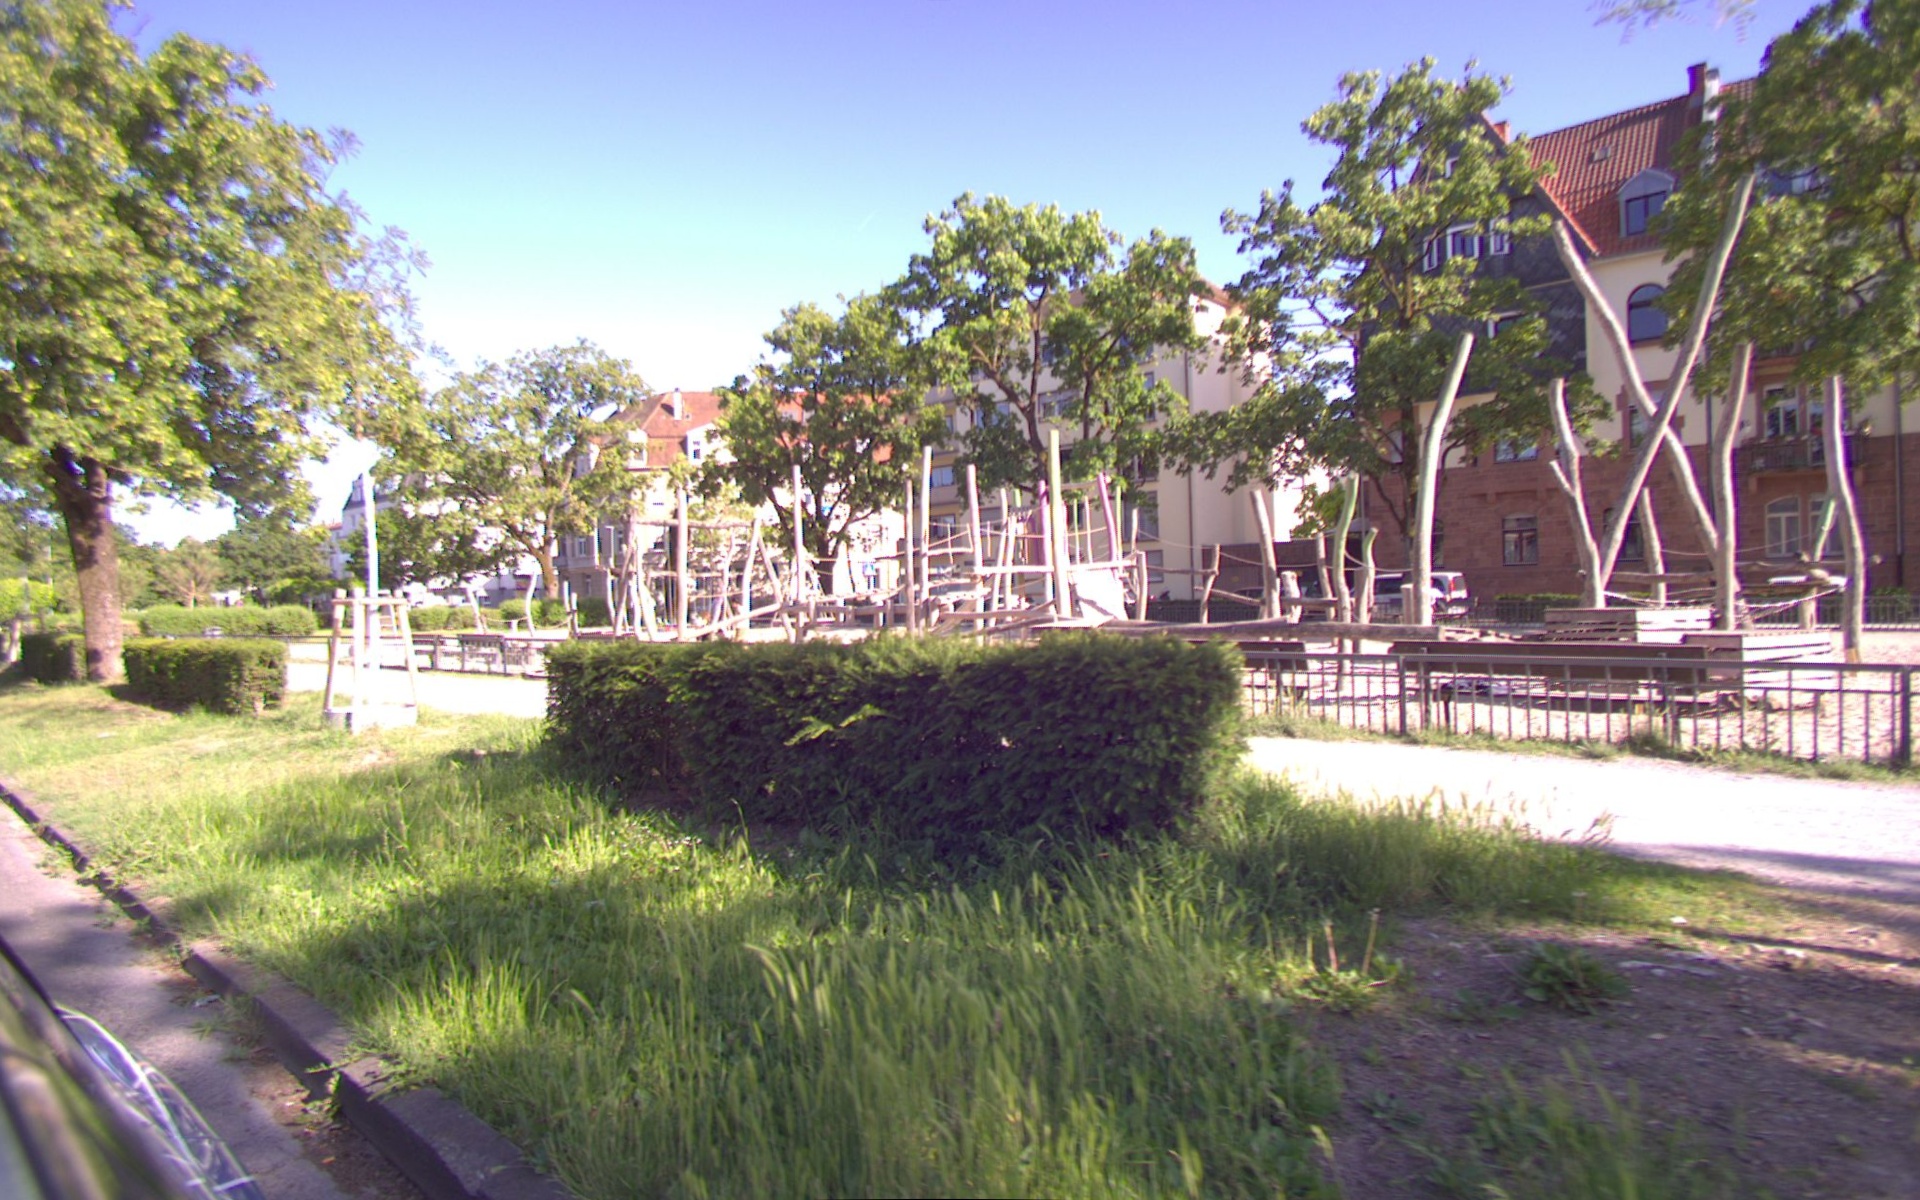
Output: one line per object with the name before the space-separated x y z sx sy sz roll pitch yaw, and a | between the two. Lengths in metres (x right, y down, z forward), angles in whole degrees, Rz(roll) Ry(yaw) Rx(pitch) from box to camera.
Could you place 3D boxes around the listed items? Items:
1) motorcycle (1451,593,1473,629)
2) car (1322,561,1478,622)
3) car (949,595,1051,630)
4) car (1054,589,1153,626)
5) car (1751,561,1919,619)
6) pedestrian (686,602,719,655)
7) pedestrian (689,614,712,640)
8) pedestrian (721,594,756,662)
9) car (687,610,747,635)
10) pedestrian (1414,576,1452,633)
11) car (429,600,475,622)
motorcycle | 11.914 0.255 24.013 0.284 0.833 0.695 -2 0 39
car | 15.865 -0.276 36.684 4.833 1.997 1.776 -2 0 41
car | 1.886 0.613 48.923 4.760 1.521 1.887 -2 1 40
car | 6.351 0.355 44.988 3.998 1.521 1.776 -2 1 41
car | 25.298 -0.273 29.022 3.998 1.521 1.776 -2 1 41
pedestrian | -6.767 0.747 26.561 0.639 1.339 0.652 -2 0 -31
pedestrian | -10.043 1.048 39.133 0.535 0.986 0.779 -2 0 -41
pedestrian | -5.633 0.708 25.732 0.639 1.674 0.652 -2 0 -31
car | -16.727 1.534 69.660 3.933 1.521 1.805 -2 0 -14
pedestrian | 11.357 0.099 24.300 0.649 1.328 0.642 -2 0 38
car | -41.861 0.919 83.376 4.585 1.647 1.776 -2 1 41
